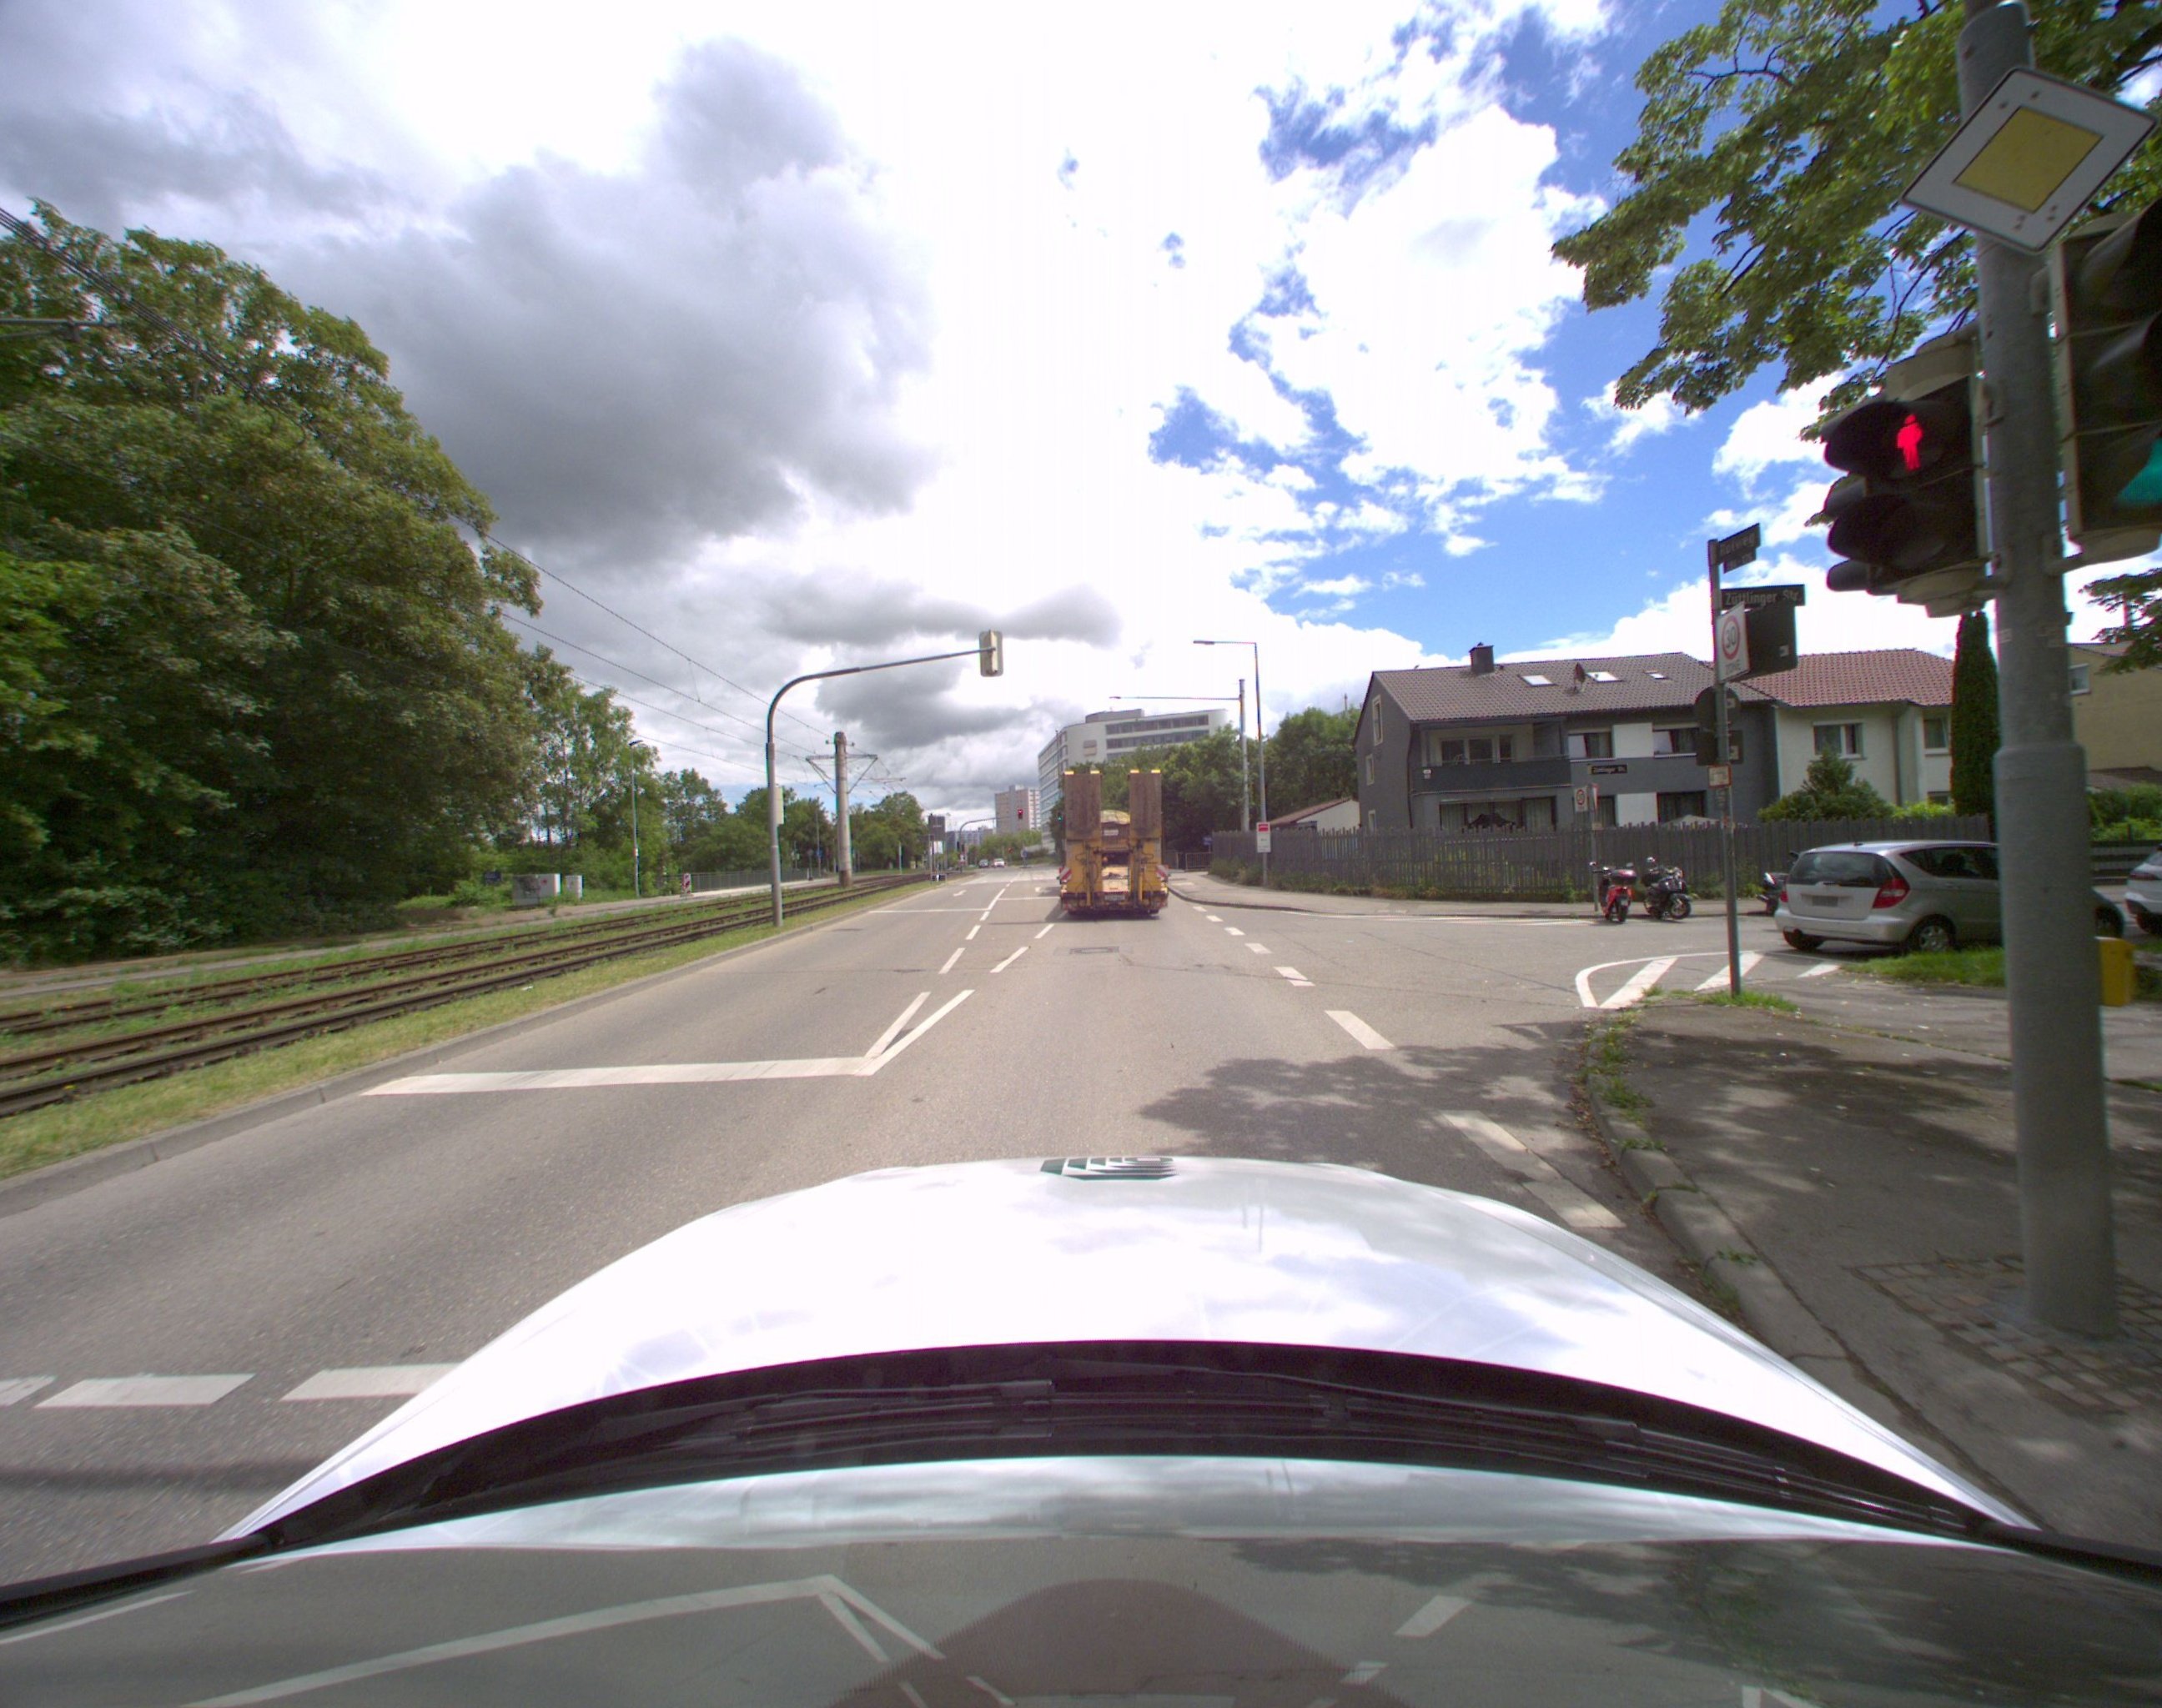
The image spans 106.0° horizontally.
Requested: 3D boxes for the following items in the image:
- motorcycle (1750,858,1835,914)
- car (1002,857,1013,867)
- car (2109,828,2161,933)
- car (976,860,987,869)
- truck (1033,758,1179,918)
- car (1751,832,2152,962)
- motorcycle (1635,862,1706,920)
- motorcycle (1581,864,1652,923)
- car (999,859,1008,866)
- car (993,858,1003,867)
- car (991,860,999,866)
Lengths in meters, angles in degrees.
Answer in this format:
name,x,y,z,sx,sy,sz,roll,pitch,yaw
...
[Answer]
name,x,y,z,sx,sy,sz,roll,pitch,yaw
motorcycle,15.403,0.666,17.685,0.653,1.149,2.003,-1,-1,19
car,-13.552,1.454,150.789,1.991,1.926,3.991,-1,-1,-6
car,18.160,0.354,12.126,4.002,1.563,1.778,-2,1,-8
car,-18.564,1.882,151.915,1.782,1.570,4.334,-3,-1,-7
truck,0.498,-0.321,25.091,3.306,3.651,12.556,-1,-1,-1
car,12.158,0.535,11.529,3.984,1.554,1.934,-1,0,-8
motorcycle,12.545,0.761,17.386,0.653,1.149,2.003,-1,-1,19
motorcycle,11.319,0.792,17.306,0.653,1.149,2.436,-1,-1,19
car,-17.540,1.866,183.576,1.991,1.420,3.991,-1,0,-6
car,-14.040,1.456,137.812,1.590,1.527,3.649,-3,-1,-4
car,-21.945,2.298,207.818,1.991,1.618,3.991,-1,-1,-6
